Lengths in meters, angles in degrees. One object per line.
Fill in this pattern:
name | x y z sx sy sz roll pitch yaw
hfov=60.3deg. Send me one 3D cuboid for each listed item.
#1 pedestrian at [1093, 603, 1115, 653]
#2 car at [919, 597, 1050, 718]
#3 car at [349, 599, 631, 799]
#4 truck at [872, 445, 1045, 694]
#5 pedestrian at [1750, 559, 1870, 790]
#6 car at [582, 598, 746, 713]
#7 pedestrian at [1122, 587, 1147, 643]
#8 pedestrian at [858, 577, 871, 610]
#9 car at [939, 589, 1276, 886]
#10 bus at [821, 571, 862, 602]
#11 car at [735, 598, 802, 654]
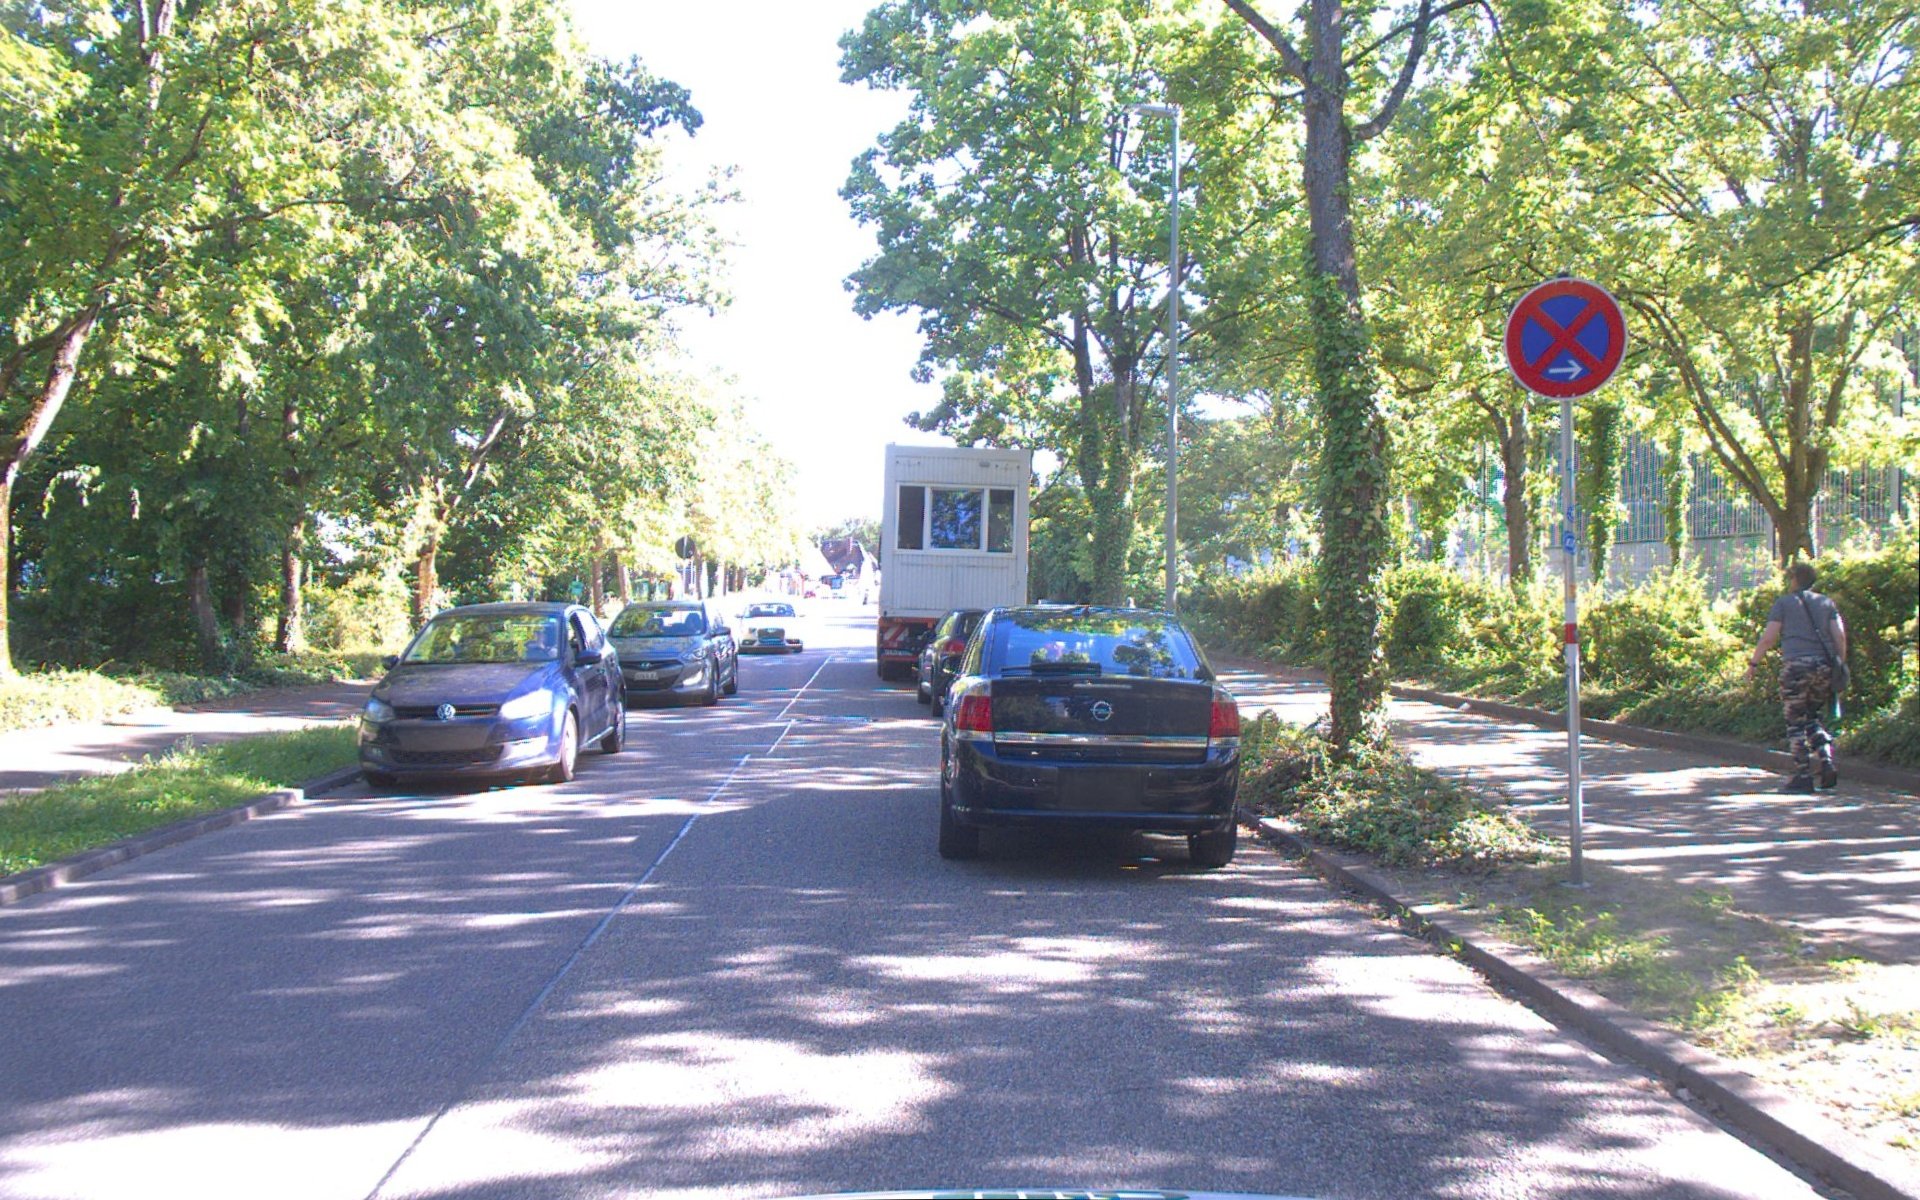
pedestrian | 4.736 0.910 54.474 0.587 1.639 0.599 -1 0 -6
car | 0.284 0.707 22.545 1.606 1.445 3.999 -1 0 -1
car | -3.907 0.741 14.307 1.569 1.451 3.649 -1 1 -3
truck | -0.293 -0.534 32.758 2.718 4.065 10.341 2 0 -3
pedestrian | 6.227 0.527 12.136 0.559 1.636 0.671 1 0 6
car | -4.240 0.738 24.267 1.720 1.479 4.242 -1 1 -1
pedestrian | 5.756 0.489 54.605 0.684 1.844 0.699 -1 0 -6
pedestrian | -6.355 -0.423 110.558 0.737 2.150 0.799 2 0 0
car | 0.743 0.731 10.627 1.713 1.506 4.029 1 0 -1
bus | -13.334 -1.526 187.179 3.982 3.407 9.799 -1 0 -1
car | -5.340 0.699 46.407 1.752 1.441 4.100 -1 1 -5
